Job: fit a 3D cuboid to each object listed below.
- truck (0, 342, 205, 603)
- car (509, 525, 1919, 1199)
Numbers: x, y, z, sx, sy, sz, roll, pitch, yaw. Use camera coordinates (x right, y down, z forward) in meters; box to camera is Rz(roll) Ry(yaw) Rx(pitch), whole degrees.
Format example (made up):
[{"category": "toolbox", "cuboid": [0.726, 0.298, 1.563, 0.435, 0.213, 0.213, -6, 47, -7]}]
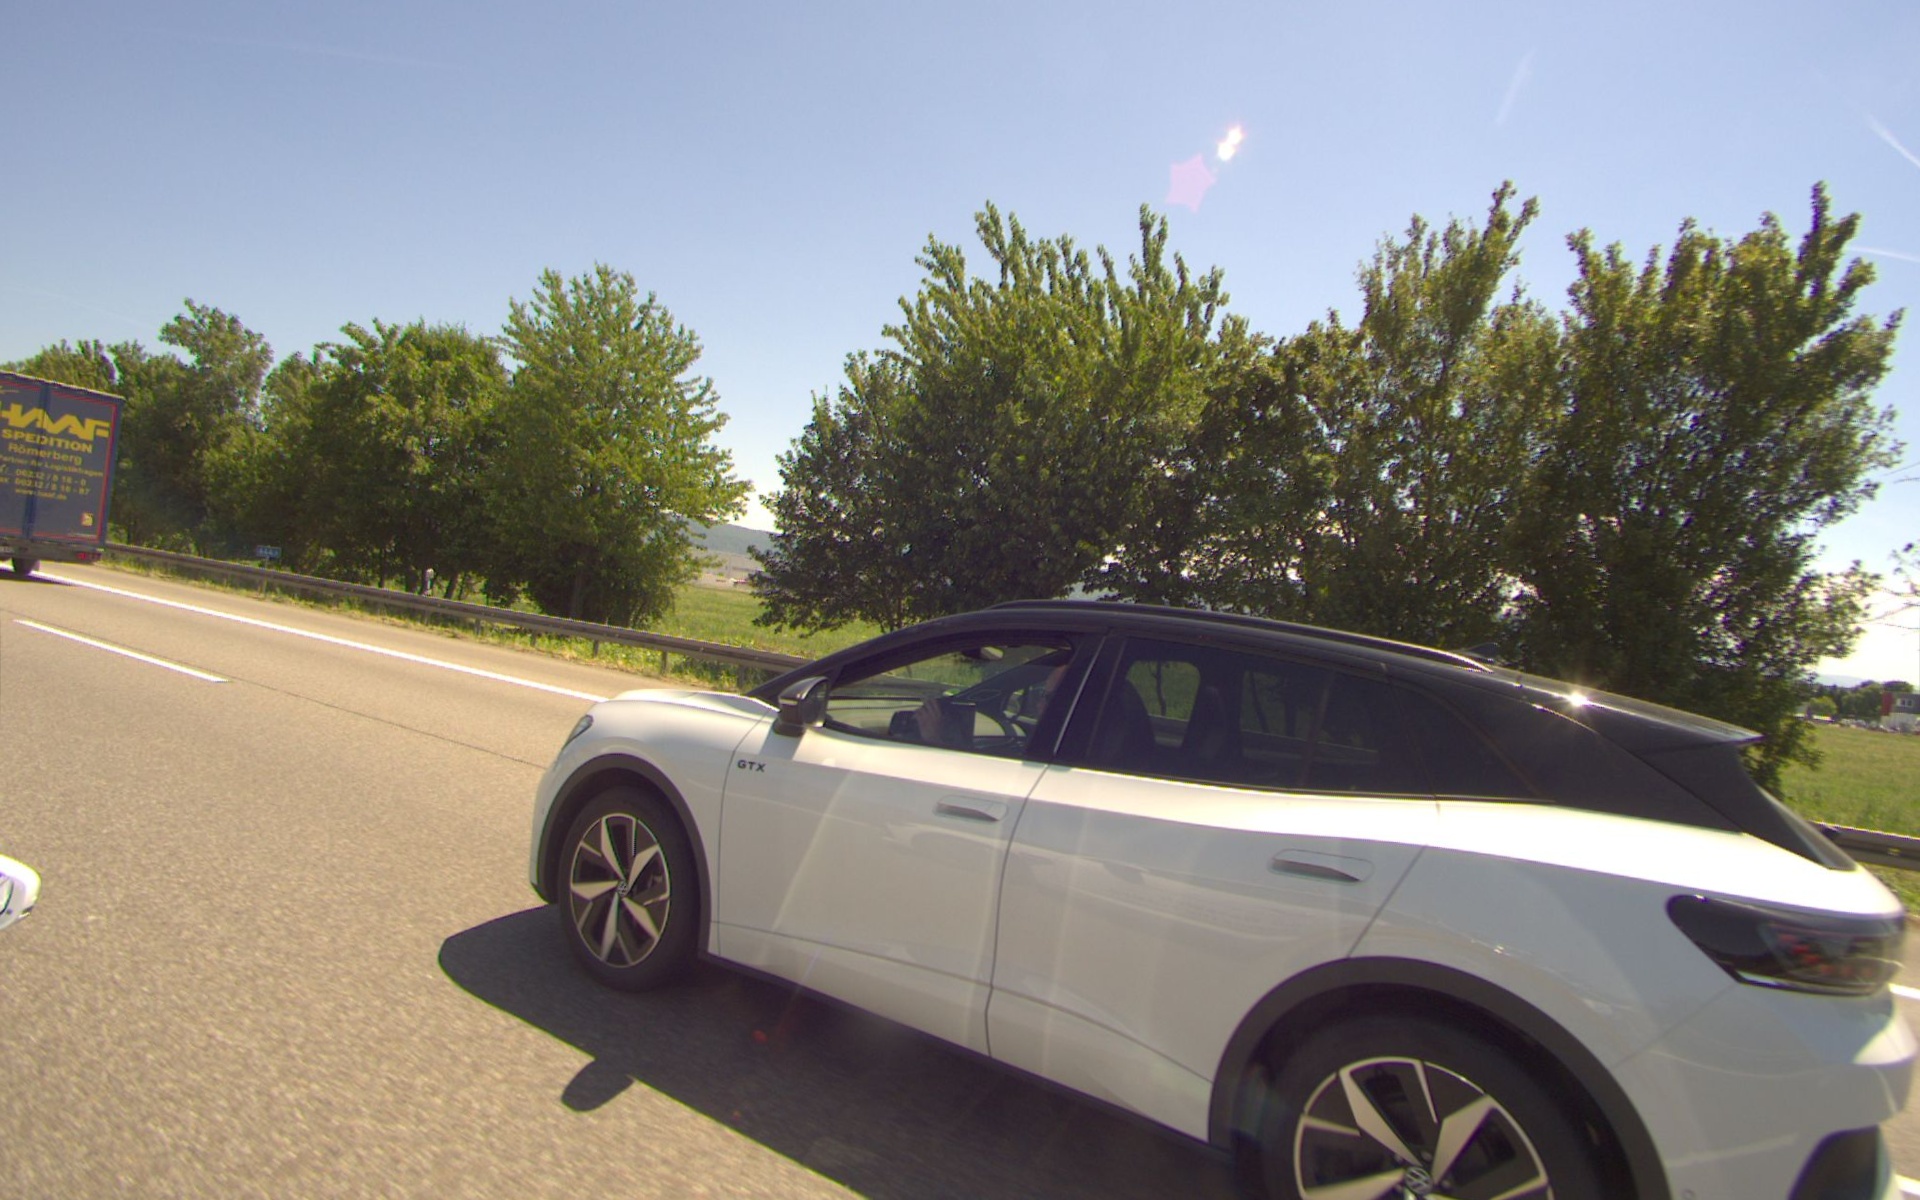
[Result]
[{"category": "truck", "cuboid": [-22.269, -2.913, 22.399, 15.254, 4.187, 3.115, 7, -1, 32]}, {"category": "car", "cuboid": [0.638, 0.816, 3.540, 4.308, 1.621, 1.806, 7, -2, 32]}]
